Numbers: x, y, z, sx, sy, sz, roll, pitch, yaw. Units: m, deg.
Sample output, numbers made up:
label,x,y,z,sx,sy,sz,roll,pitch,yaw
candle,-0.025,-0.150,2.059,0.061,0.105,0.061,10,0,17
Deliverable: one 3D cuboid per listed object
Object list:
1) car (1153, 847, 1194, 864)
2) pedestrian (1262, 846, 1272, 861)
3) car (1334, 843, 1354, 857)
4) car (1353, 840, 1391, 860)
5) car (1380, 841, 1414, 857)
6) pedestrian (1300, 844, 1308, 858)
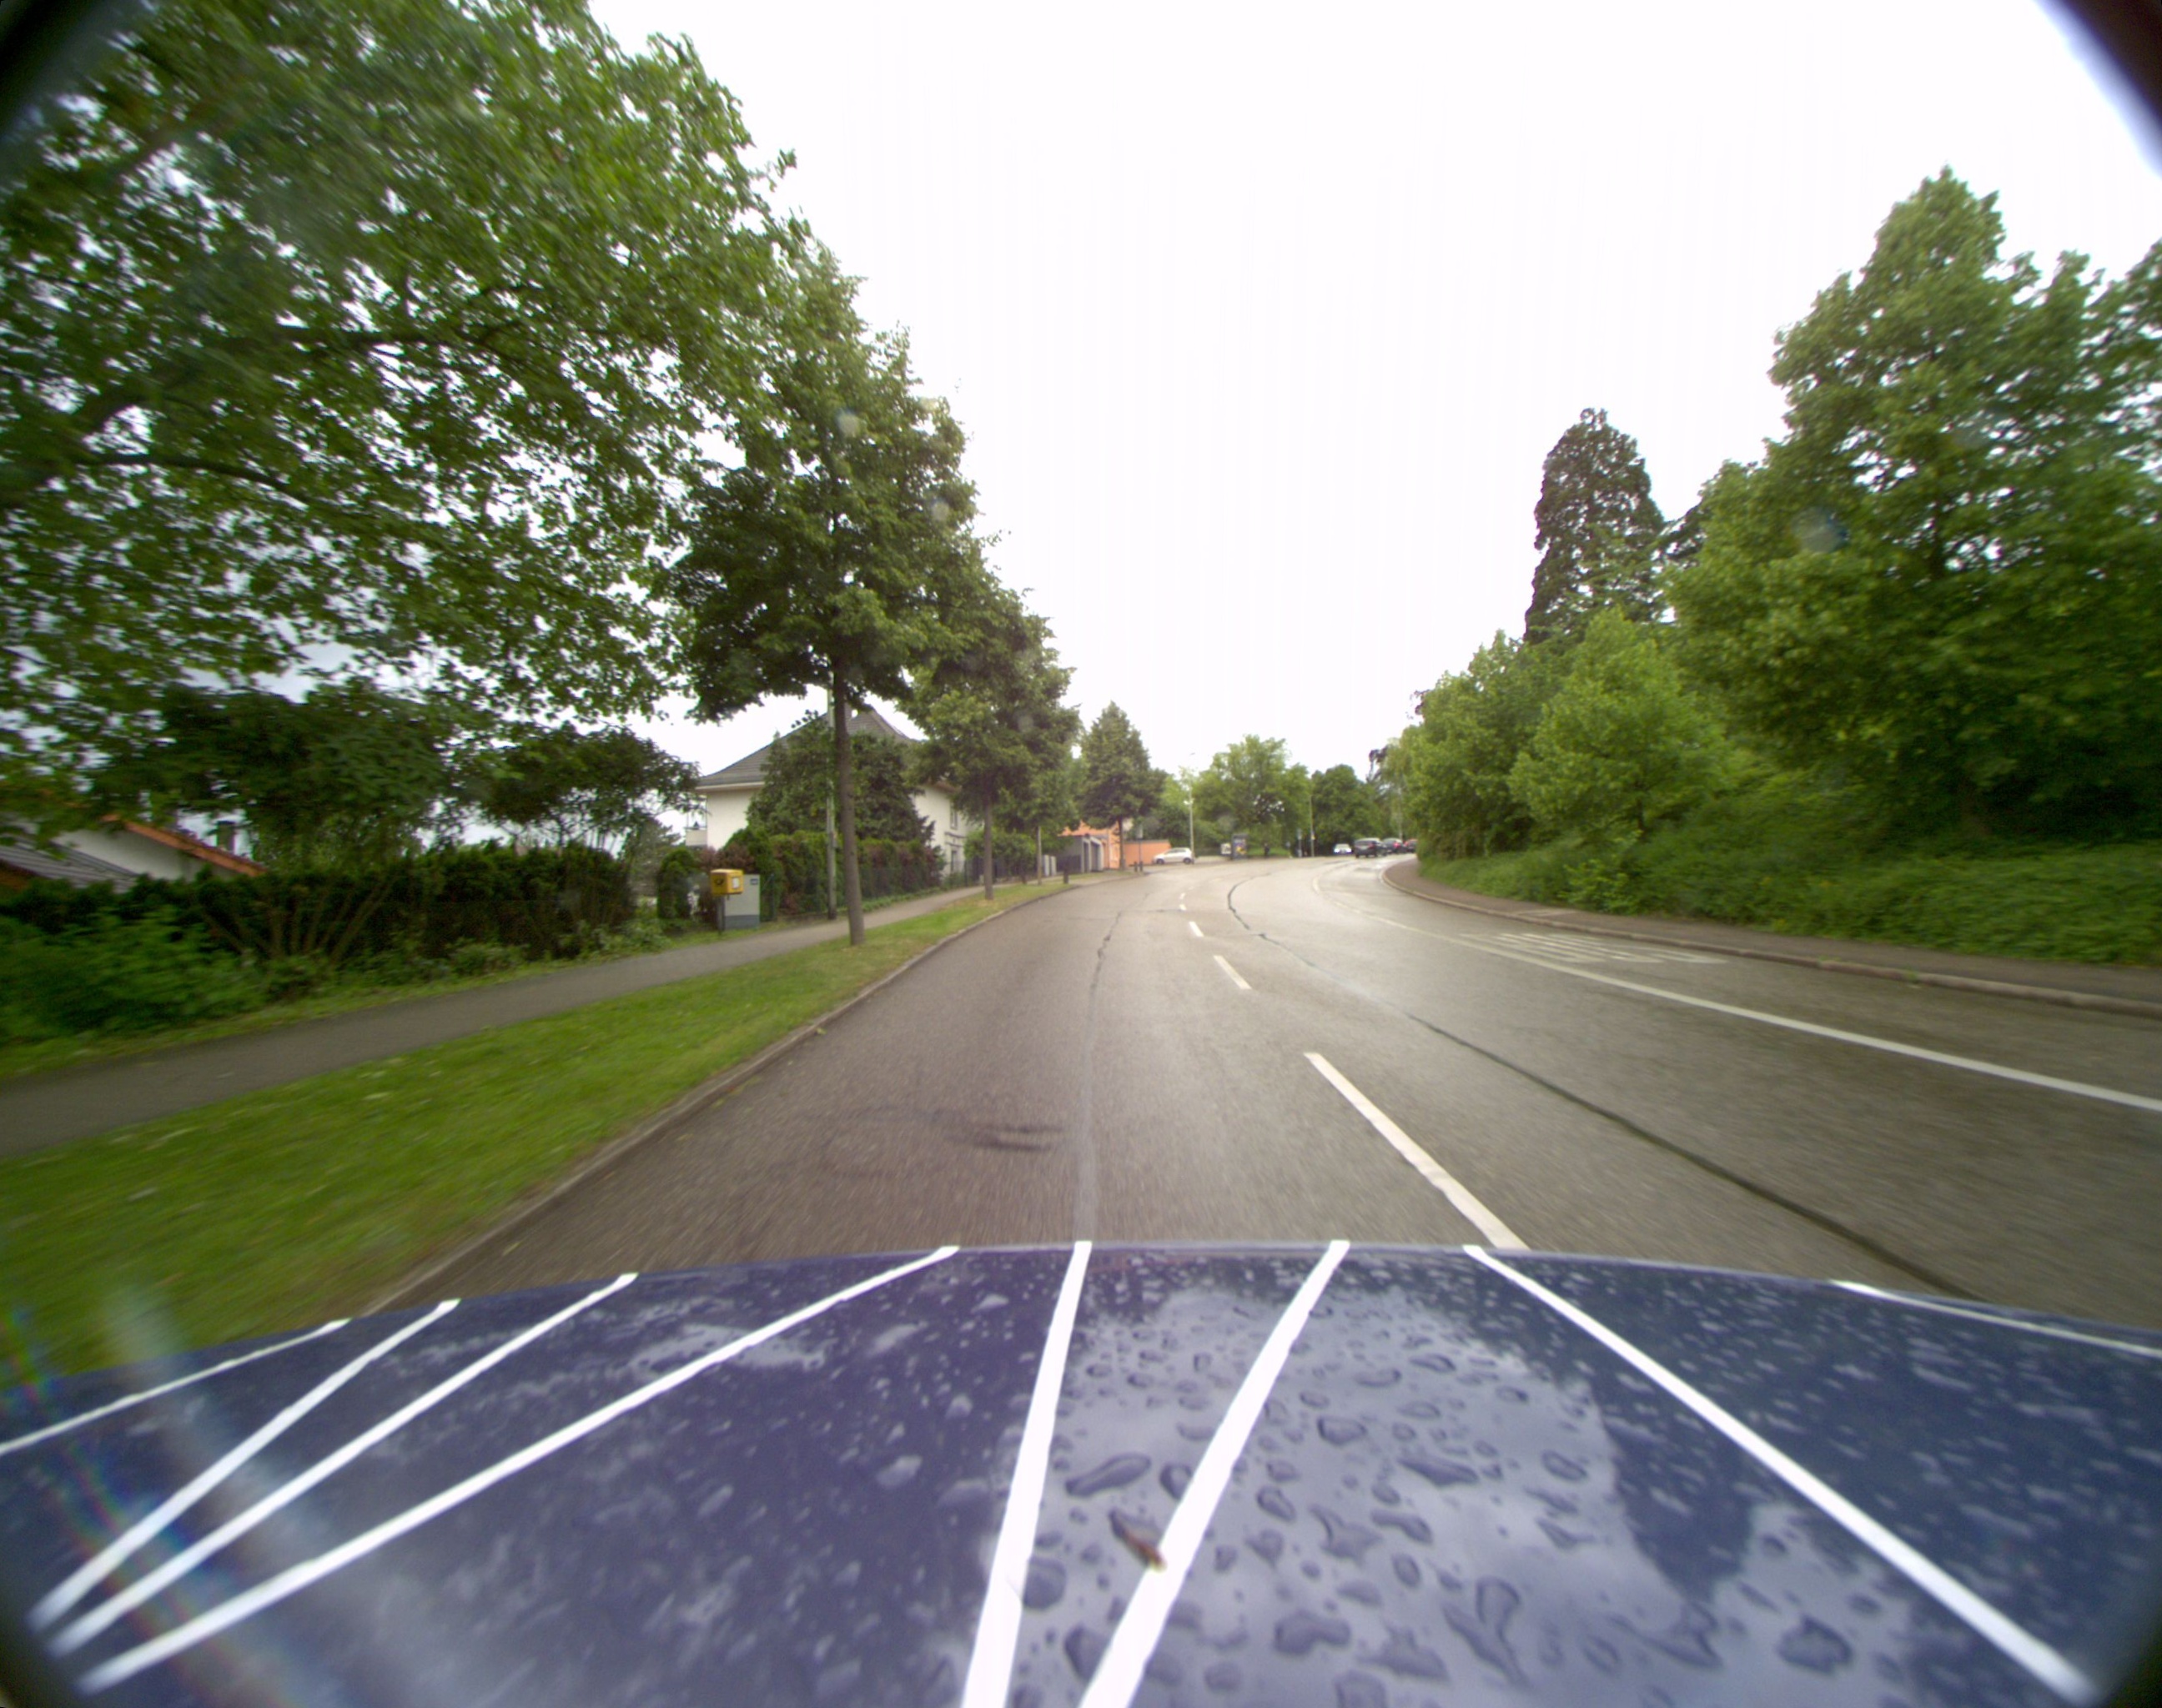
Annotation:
label,x,y,z,sx,sy,sz,roll,pitch,yaw
car,9.014,0.172,73.824,3.864,1.557,1.729,0,0,11
pedestrian,20.812,-0.069,84.902,0.926,1.645,1.099,-2,0,21
car,31.586,-0.440,91.236,1.859,1.406,4.394,-3,-2,23
car,25.335,-0.390,66.062,1.811,1.568,4.694,-2,1,37
car,30.036,-0.459,72.162,1.722,1.455,4.386,-2,-1,40
pedestrian,26.924,-0.350,91.668,0.724,1.722,0.821,-2,0,32
